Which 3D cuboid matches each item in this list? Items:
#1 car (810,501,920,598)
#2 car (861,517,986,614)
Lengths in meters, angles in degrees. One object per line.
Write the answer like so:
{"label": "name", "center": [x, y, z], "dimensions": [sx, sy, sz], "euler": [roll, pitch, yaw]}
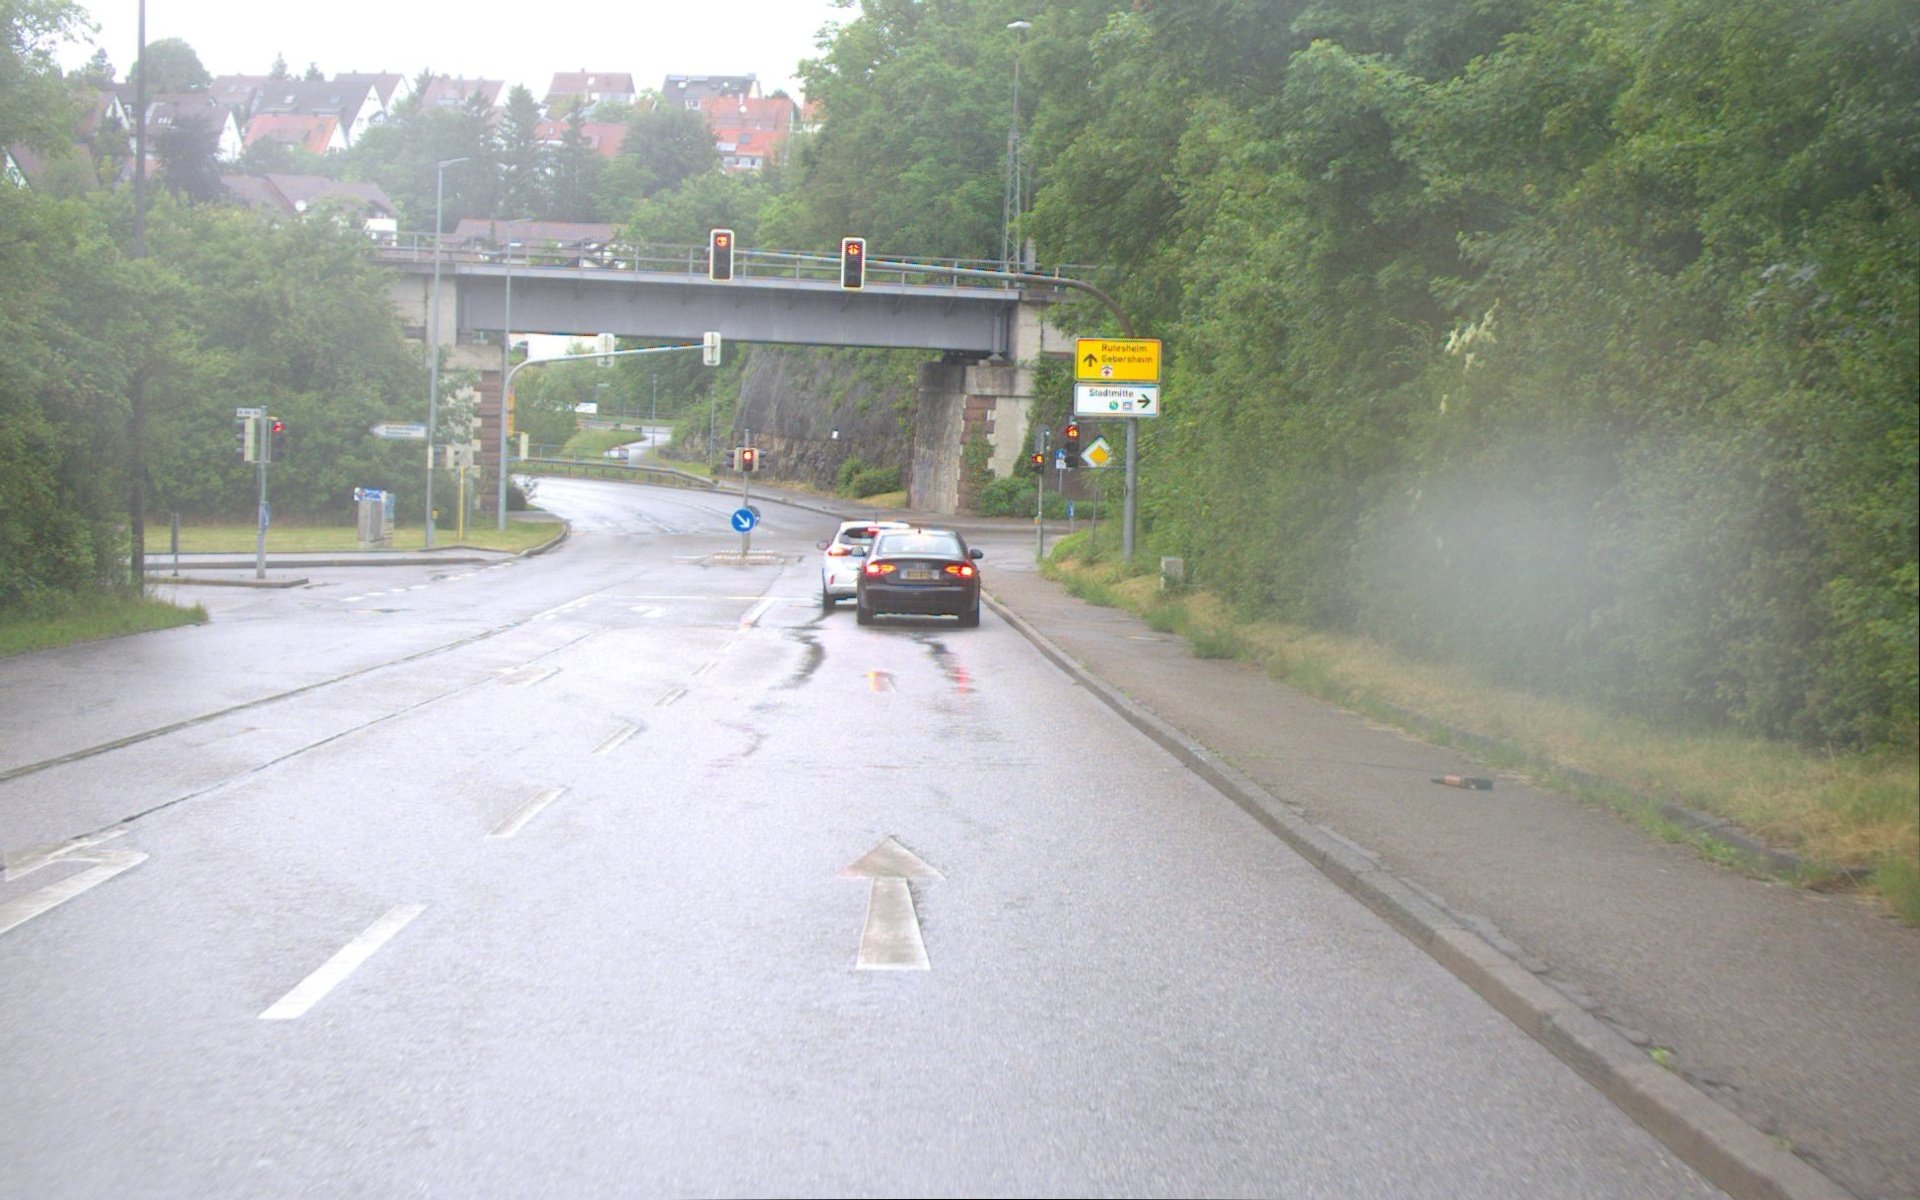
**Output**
{"label": "car", "center": [-1.544, -0.847, 57.283], "dimensions": [1.768, 1.557, 4.000], "euler": [0, 1, -1]}
{"label": "car", "center": [-0.543, -0.526, 50.628], "dimensions": [1.768, 1.375, 4.000], "euler": [0, 1, -1]}
